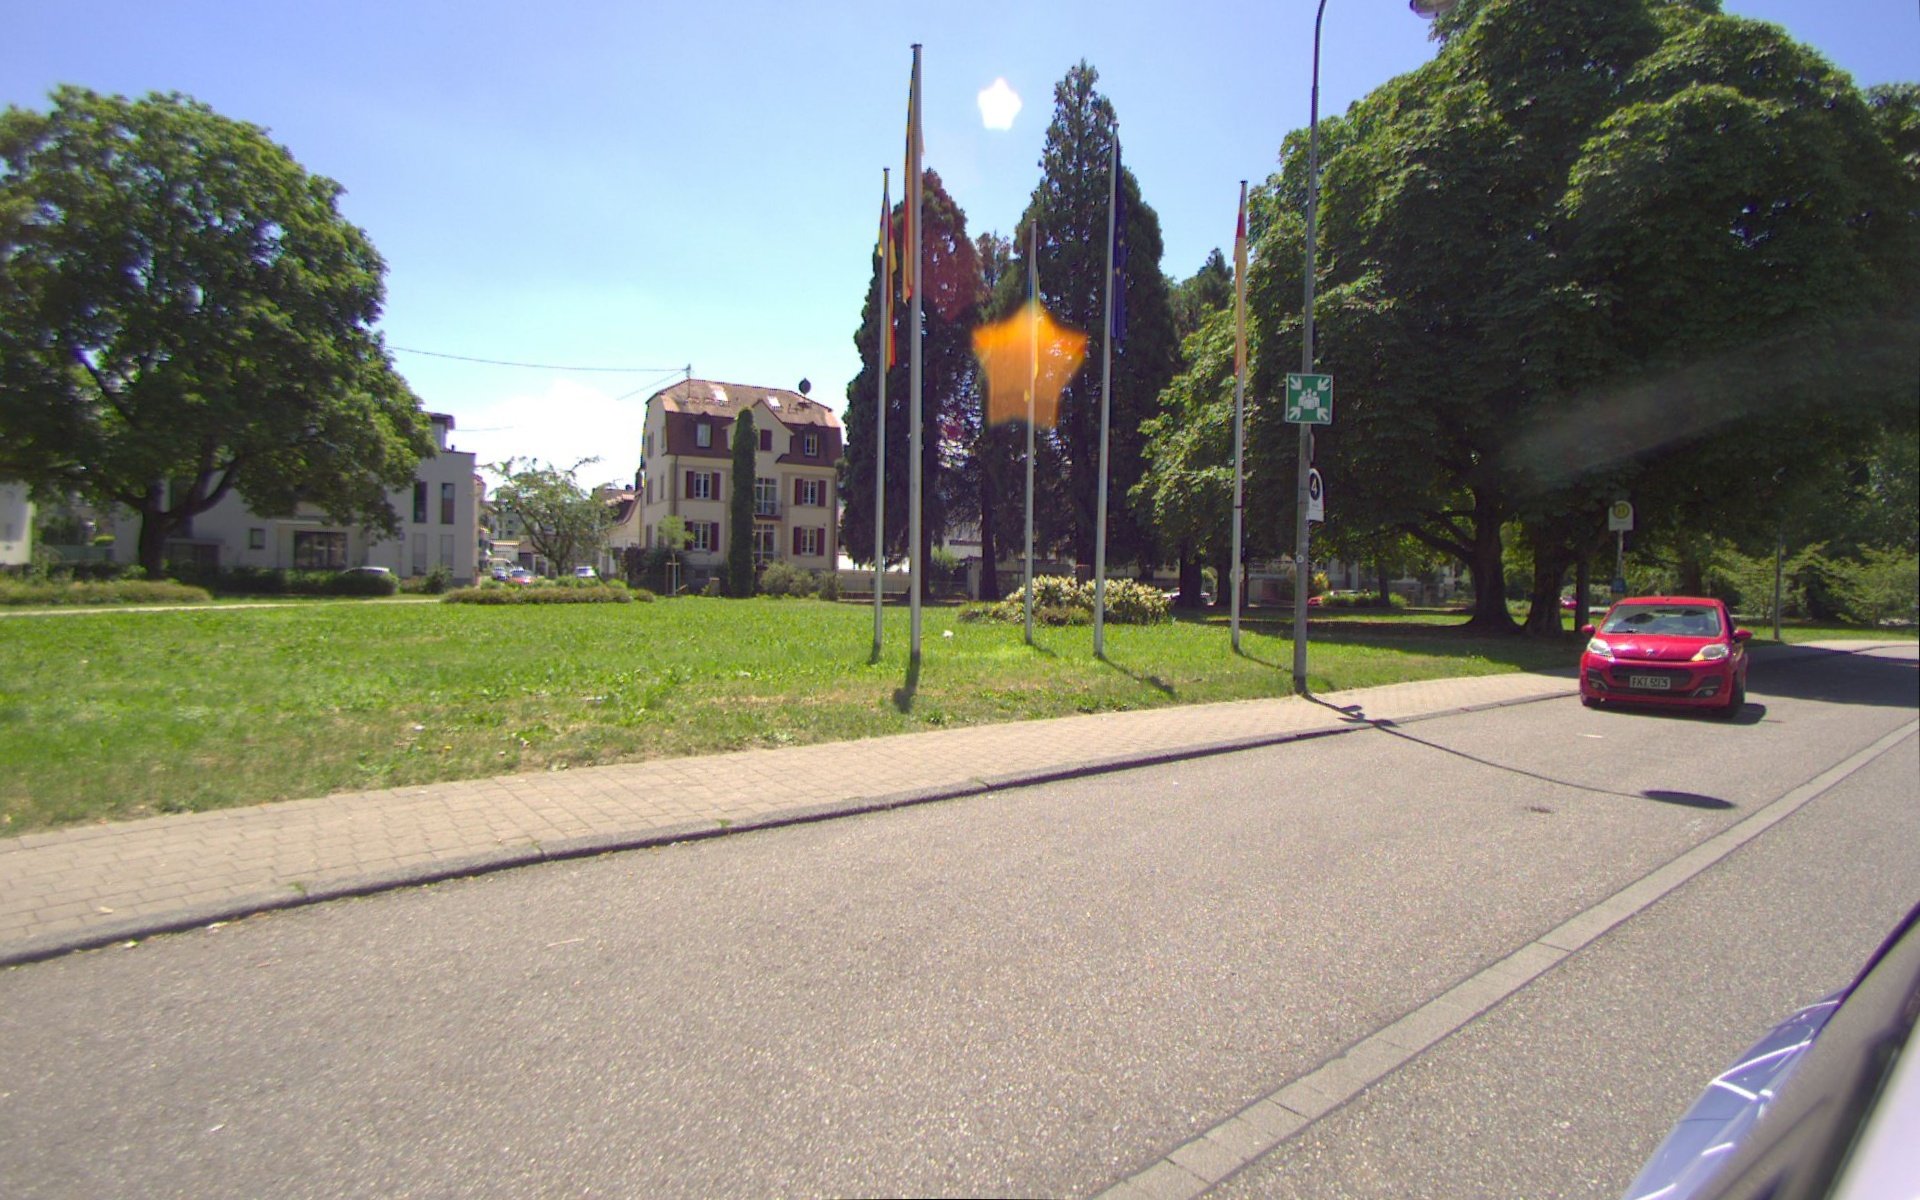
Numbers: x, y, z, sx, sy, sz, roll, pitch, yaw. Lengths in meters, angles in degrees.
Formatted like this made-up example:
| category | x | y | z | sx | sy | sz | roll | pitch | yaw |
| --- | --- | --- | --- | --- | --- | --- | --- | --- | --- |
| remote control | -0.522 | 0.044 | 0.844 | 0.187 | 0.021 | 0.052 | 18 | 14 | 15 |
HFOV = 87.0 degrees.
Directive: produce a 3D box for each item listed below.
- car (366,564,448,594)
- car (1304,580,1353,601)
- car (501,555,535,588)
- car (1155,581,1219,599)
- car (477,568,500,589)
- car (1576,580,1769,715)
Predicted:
| category | x | y | z | sx | sy | sz | roll | pitch | yaw |
| --- | --- | --- | --- | --- | --- | --- | --- | --- | --- |
| car | -28.027 | -1.075 | 51.353 | 3.631 | 1.450 | 1.468 | 0 | 2 | -29 |
| car | 30.188 | -0.820 | 82.873 | 3.920 | 1.619 | 1.705 | -1 | 3 | -30 |
| car | -27.284 | -1.794 | 62.405 | 1.793 | 1.981 | 3.768 | -1 | 3 | -25 |
| car | 17.043 | -0.770 | 75.890 | 4.618 | 1.303 | 1.674 | 0 | 3 | -26 |
| car | -47.147 | -2.155 | 101.198 | 1.959 | 2.038 | 4.008 | -1 | 3 | -25 |
| car | 9.564 | 0.513 | 13.476 | 1.717 | 1.496 | 3.651 | 3 | 2 | 41 |
